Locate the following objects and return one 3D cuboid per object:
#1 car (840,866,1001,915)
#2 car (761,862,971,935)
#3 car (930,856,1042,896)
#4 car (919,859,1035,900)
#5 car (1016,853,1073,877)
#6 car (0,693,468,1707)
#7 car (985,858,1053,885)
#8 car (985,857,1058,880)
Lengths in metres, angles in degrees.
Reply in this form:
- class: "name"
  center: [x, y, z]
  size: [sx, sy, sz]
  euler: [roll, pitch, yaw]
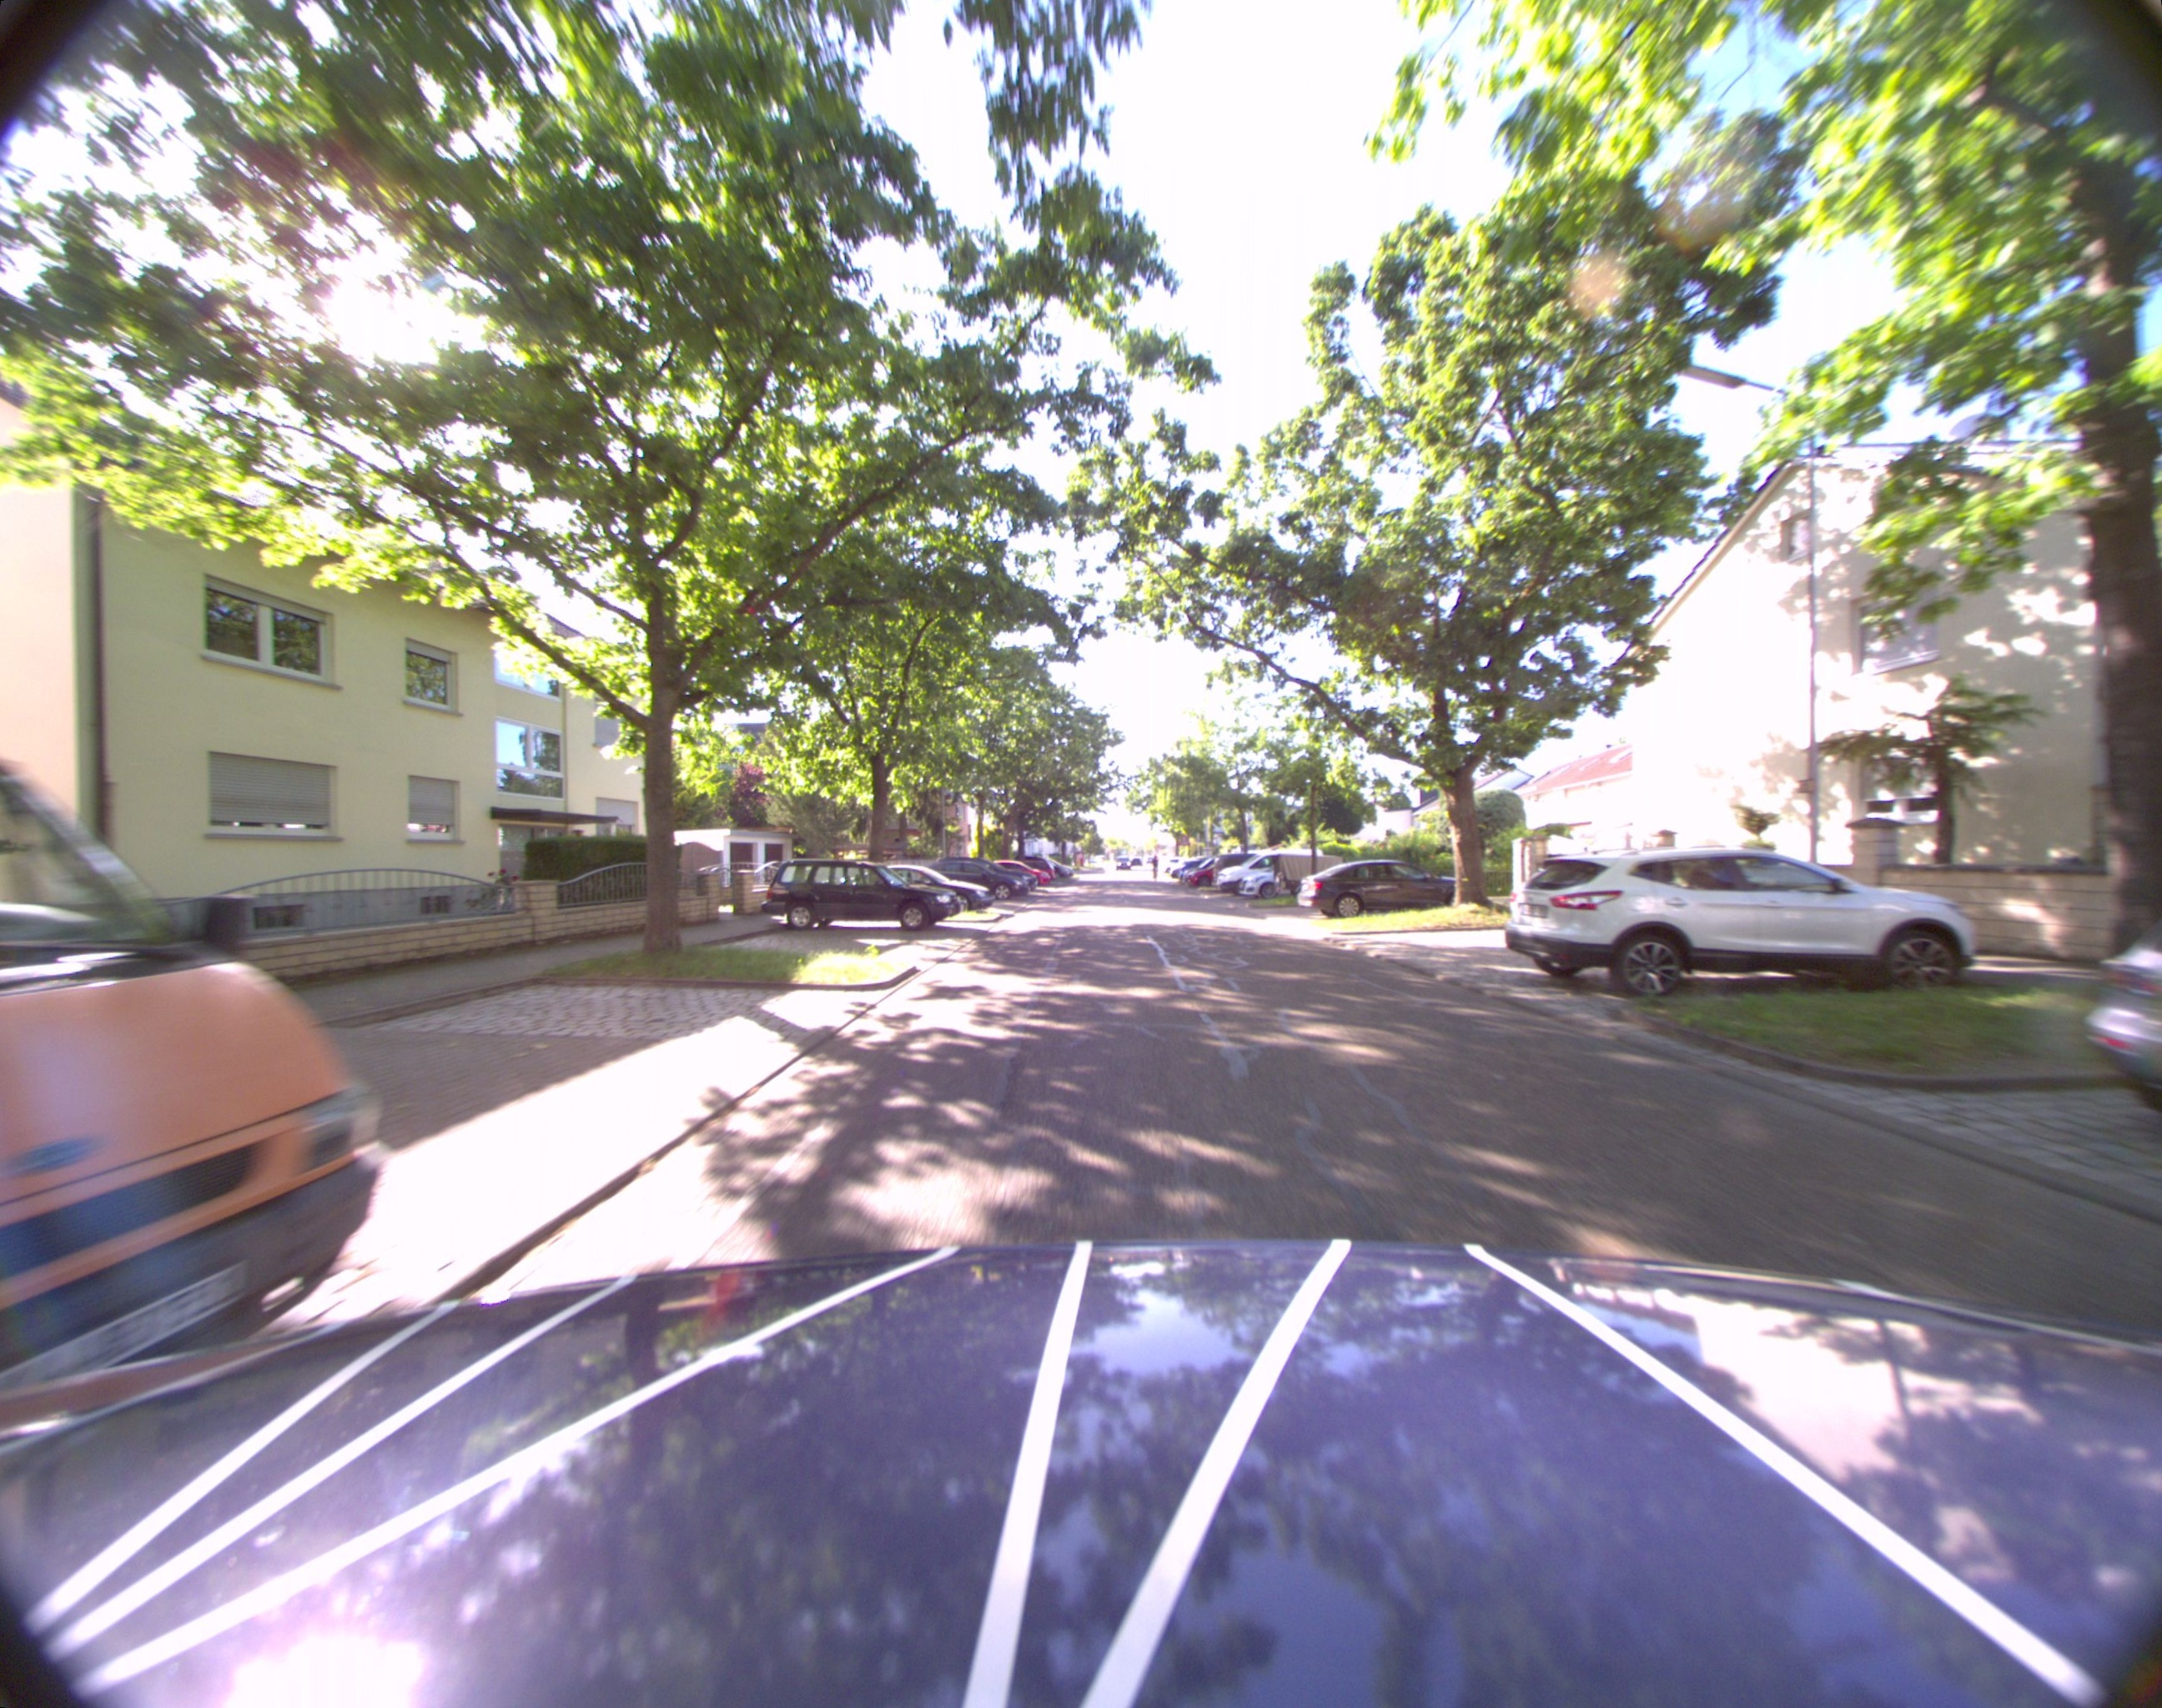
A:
- class: "car"
  center: [-4.769, 1.073, 22.919]
  size: [4.437, 1.323, 1.691]
  euler: [1, 0, 3]
- class: "car"
  center: [-4.883, 0.992, 17.716]
  size: [4.349, 1.551, 1.867]
  euler: [1, 0, 0]
- class: "car"
  center: [-4.087, 0.934, 33.107]
  size: [4.584, 1.637, 1.838]
  euler: [1, 0, 1]
- class: "car"
  center: [-4.093, 1.006, 30.293]
  size: [4.330, 1.520, 1.841]
  euler: [1, 0, 1]
- class: "car"
  center: [-2.780, 0.840, 58.508]
  size: [4.221, 1.771, 1.789]
  euler: [1, 0, 3]
- class: "car"
  center: [-4.585, 0.620, 1.613]
  size: [4.830, 2.071, 2.086]
  euler: [2, 0, 1]
- class: "car"
  center: [-3.633, 1.024, 44.800]
  size: [3.786, 1.475, 1.755]
  euler: [1, 1, 3]
- class: "car"
  center: [-3.820, 0.940, 49.554]
  size: [4.513, 1.437, 1.838]
  euler: [1, 0, 3]
